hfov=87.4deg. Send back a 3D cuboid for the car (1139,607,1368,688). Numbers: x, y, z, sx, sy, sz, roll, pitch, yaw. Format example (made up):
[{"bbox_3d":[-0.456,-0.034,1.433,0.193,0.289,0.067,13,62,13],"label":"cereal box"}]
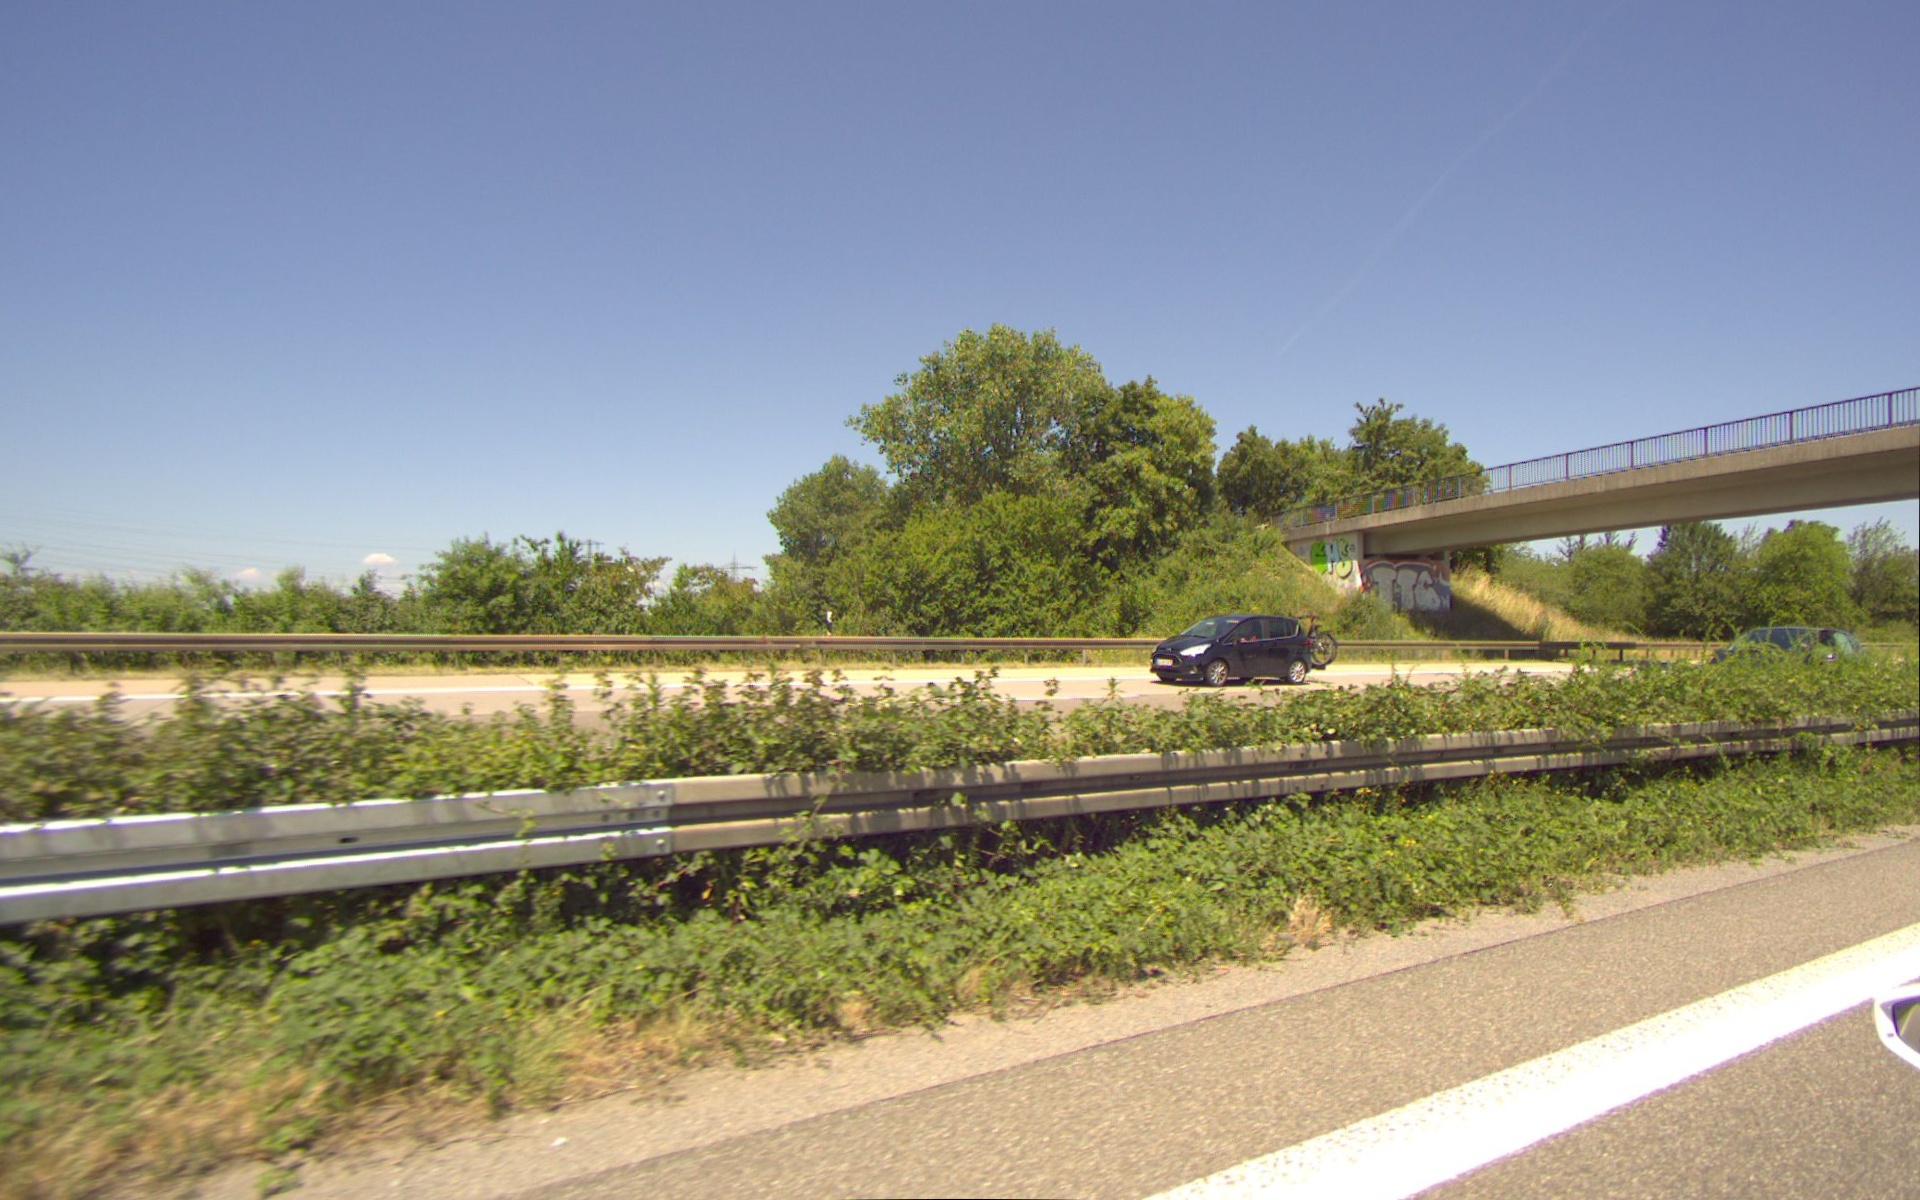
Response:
[{"bbox_3d":[6.775,1.046,22.900,5.572,1.622,1.667,2,1,-31],"label":"car"}]

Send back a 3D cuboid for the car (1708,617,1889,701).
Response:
[{"bbox_3d":[17.523,1.187,20.957,3.954,1.595,1.702,2,-1,-31],"label":"car"}]
